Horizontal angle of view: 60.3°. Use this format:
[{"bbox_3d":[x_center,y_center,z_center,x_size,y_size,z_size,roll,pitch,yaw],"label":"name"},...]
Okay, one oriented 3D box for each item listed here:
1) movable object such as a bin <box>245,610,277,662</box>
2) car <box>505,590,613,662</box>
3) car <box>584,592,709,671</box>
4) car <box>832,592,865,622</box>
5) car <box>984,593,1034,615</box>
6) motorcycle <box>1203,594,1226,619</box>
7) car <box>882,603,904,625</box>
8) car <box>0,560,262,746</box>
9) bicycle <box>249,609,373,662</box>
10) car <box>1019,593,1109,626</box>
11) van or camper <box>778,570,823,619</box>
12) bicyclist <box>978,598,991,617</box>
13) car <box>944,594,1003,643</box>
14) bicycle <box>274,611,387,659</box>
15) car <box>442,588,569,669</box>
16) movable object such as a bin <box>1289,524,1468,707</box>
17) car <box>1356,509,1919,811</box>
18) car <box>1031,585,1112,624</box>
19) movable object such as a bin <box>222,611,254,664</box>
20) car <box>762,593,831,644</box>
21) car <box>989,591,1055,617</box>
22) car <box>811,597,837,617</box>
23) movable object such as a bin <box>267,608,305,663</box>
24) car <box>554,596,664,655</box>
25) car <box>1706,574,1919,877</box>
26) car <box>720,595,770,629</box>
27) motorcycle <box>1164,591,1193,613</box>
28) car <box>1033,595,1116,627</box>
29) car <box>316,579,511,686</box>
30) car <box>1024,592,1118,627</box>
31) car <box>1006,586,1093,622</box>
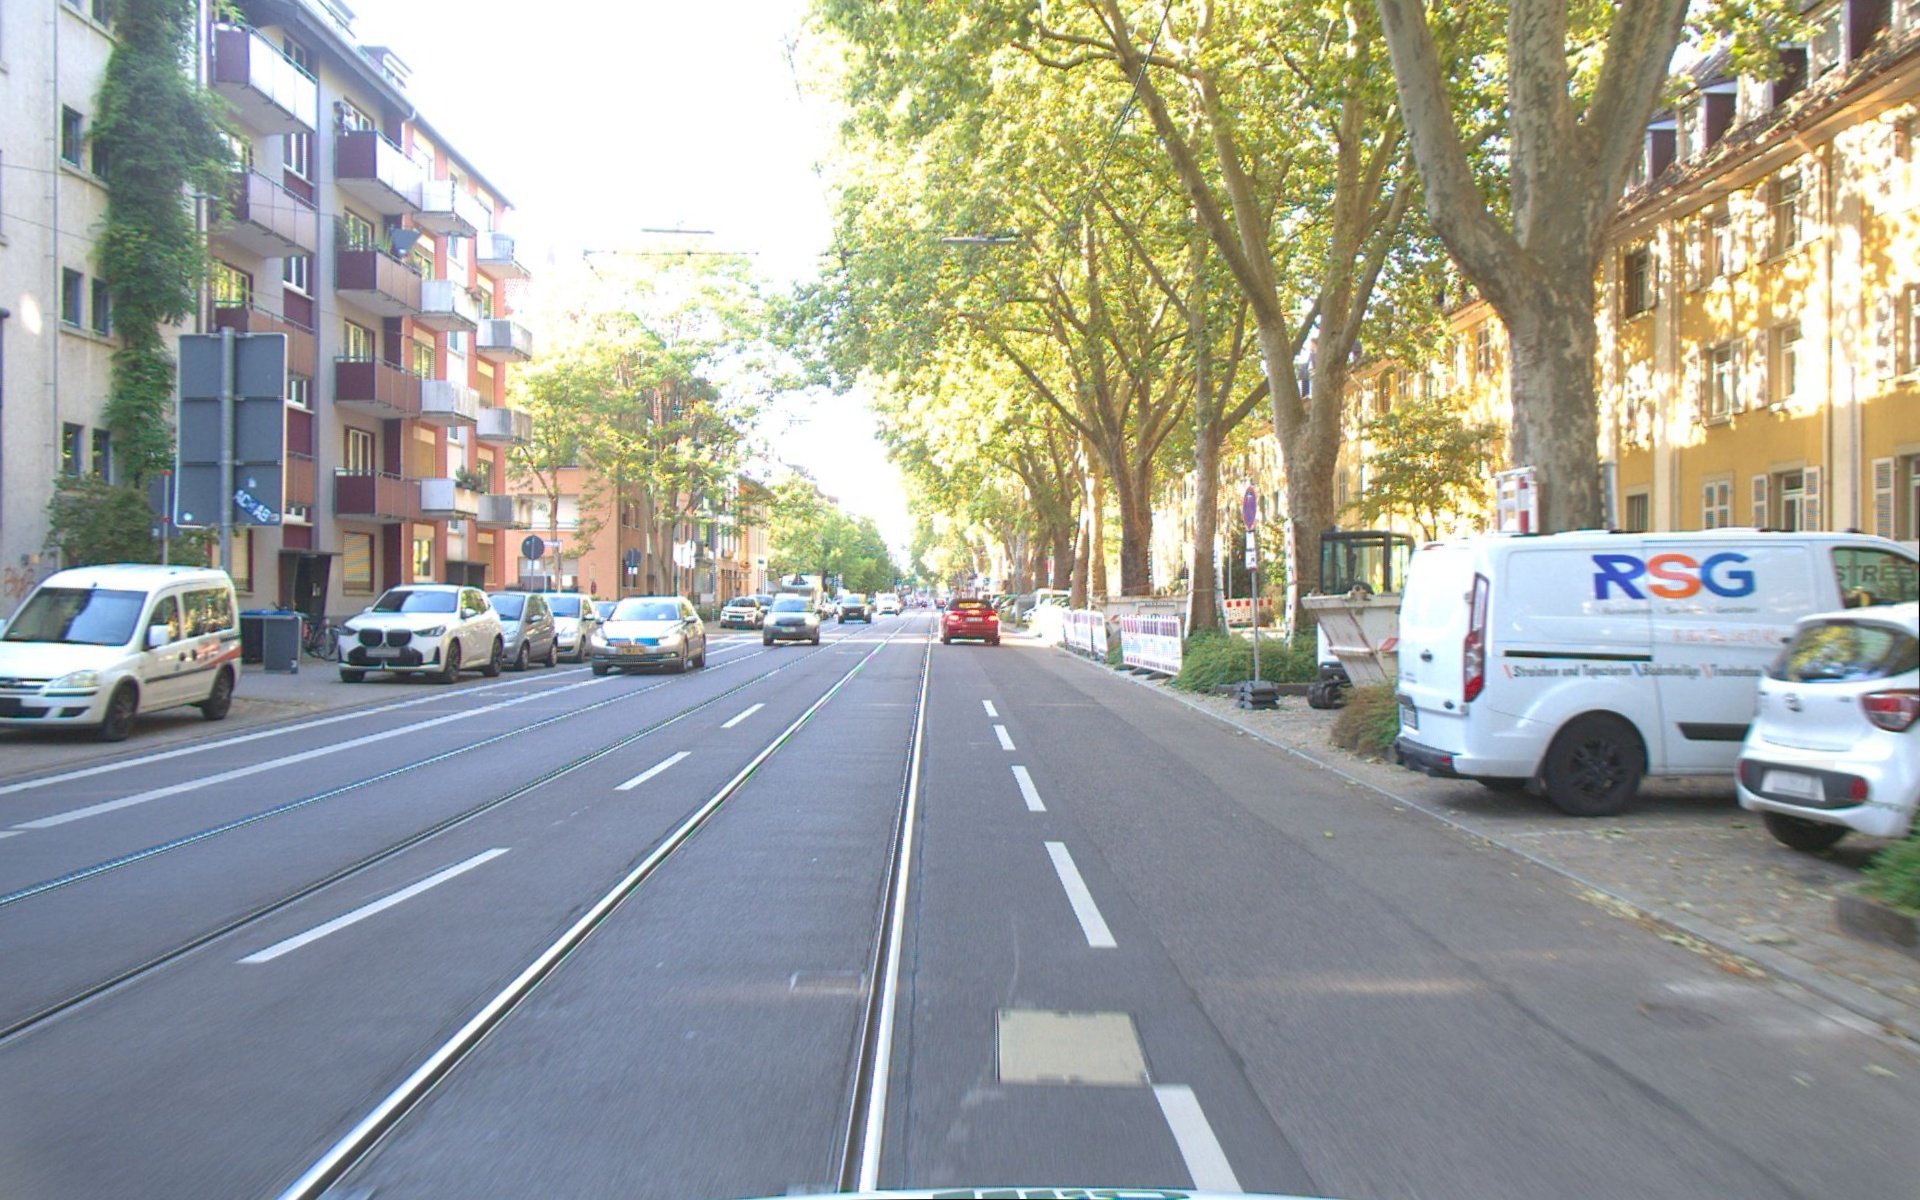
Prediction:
[{"bbox_3d":[-14.432,0.741,34.149,0.451,1.074,0.492,0,0,-1],"label":"movable object such as a bin"},{"bbox_3d":[-9.588,0.584,39.840,1.783,1.614,4.003,1,0,-3],"label":"car"},{"bbox_3d":[-6.200,0.611,33.186,1.759,1.471,4.714,0,-1,-2],"label":"car"},{"bbox_3d":[-6.427,0.400,95.735,1.816,1.628,4.461,2,0,-3],"label":"car"},{"bbox_3d":[3.940,0.338,132.708,3.845,1.699,1.960,0,0,-3],"label":"car"},{"bbox_3d":[12.252,0.314,79.737,0.700,1.173,2.263,-1,0,-1],"label":"motorcycle"},{"bbox_3d":[-5.837,1.214,144.695,1.853,1.864,4.894,0,0,-1],"label":"car"},{"bbox_3d":[-9.489,0.496,18.412,1.753,1.802,4.467,1,0,-4],"label":"car"},{"bbox_3d":[-14.242,0.777,36.330,2.402,1.081,0.698,2,0,-4],"label":"bicycle"},{"bbox_3d":[5.026,0.440,79.983,4.279,1.569,1.802,0,1,3],"label":"car"},{"bbox_3d":[-10.664,-0.352,110.944,2.290,3.094,6.397,3,0,0],"label":"van or camper"},{"bbox_3d":[2.219,0.666,148.856,1.027,1.735,1.055,0,0,-10],"label":"bicyclist"},{"bbox_3d":[0.408,0.550,51.830,1.756,1.413,4.236,1,0,0],"label":"car"},{"bbox_3d":[-14.255,0.796,37.480,2.244,1.010,0.698,2,0,-4],"label":"bicycle"},{"bbox_3d":[-9.487,0.580,34.790,1.592,1.599,3.781,0,0,0],"label":"car"},{"bbox_3d":[5.786,0.183,22.668,1.455,2.309,3.268,0,0,32],"label":"movable object such as a bin"},{"bbox_3d":[5.616,0.398,12.498,4.736,2.048,2.063,-1,0,-1],"label":"car"},{"bbox_3d":[5.258,0.222,77.962,3.764,1.803,1.917,0,0,3],"label":"car"},{"bbox_3d":[-14.888,0.762,34.113,0.451,1.074,0.492,0,0,-1],"label":"movable object such as a bin"},{"bbox_3d":[-5.048,0.543,51.506,1.759,1.471,4.052,-1,0,-1],"label":"car"},{"bbox_3d":[4.240,0.256,112.704,4.402,1.630,2.028,-2,0,3],"label":"car"},{"bbox_3d":[-11.016,0.518,134.146,1.799,1.494,5.066,3,0,-3],"label":"car"},{"bbox_3d":[-13.924,0.737,34.177,0.567,1.119,0.498,0,0,-1],"label":"movable object such as a bin"},{"bbox_3d":[-9.459,0.655,44.955,1.912,1.419,4.862,2,0,0],"label":"car"},{"bbox_3d":[6.263,0.639,9.455,3.237,1.566,1.697,0,0,-3],"label":"car"},{"bbox_3d":[-10.177,0.573,78.449,1.769,1.504,4.089,2,0,0],"label":"car"},{"bbox_3d":[14.563,0.146,110.424,1.768,1.384,0.622,-3,0,-4],"label":"motorcycle"},{"bbox_3d":[5.228,0.490,75.998,3.764,1.458,1.852,0,0,3],"label":"car"},{"bbox_3d":[-9.491,0.536,29.175,1.913,1.677,4.880,1,0,-2],"label":"car"},{"bbox_3d":[4.912,0.432,73.673,4.006,1.548,1.916,0,-1,-2],"label":"car"},{"bbox_3d":[5.050,0.210,93.452,4.740,1.998,2.063,0,0,-3],"label":"car"}]
